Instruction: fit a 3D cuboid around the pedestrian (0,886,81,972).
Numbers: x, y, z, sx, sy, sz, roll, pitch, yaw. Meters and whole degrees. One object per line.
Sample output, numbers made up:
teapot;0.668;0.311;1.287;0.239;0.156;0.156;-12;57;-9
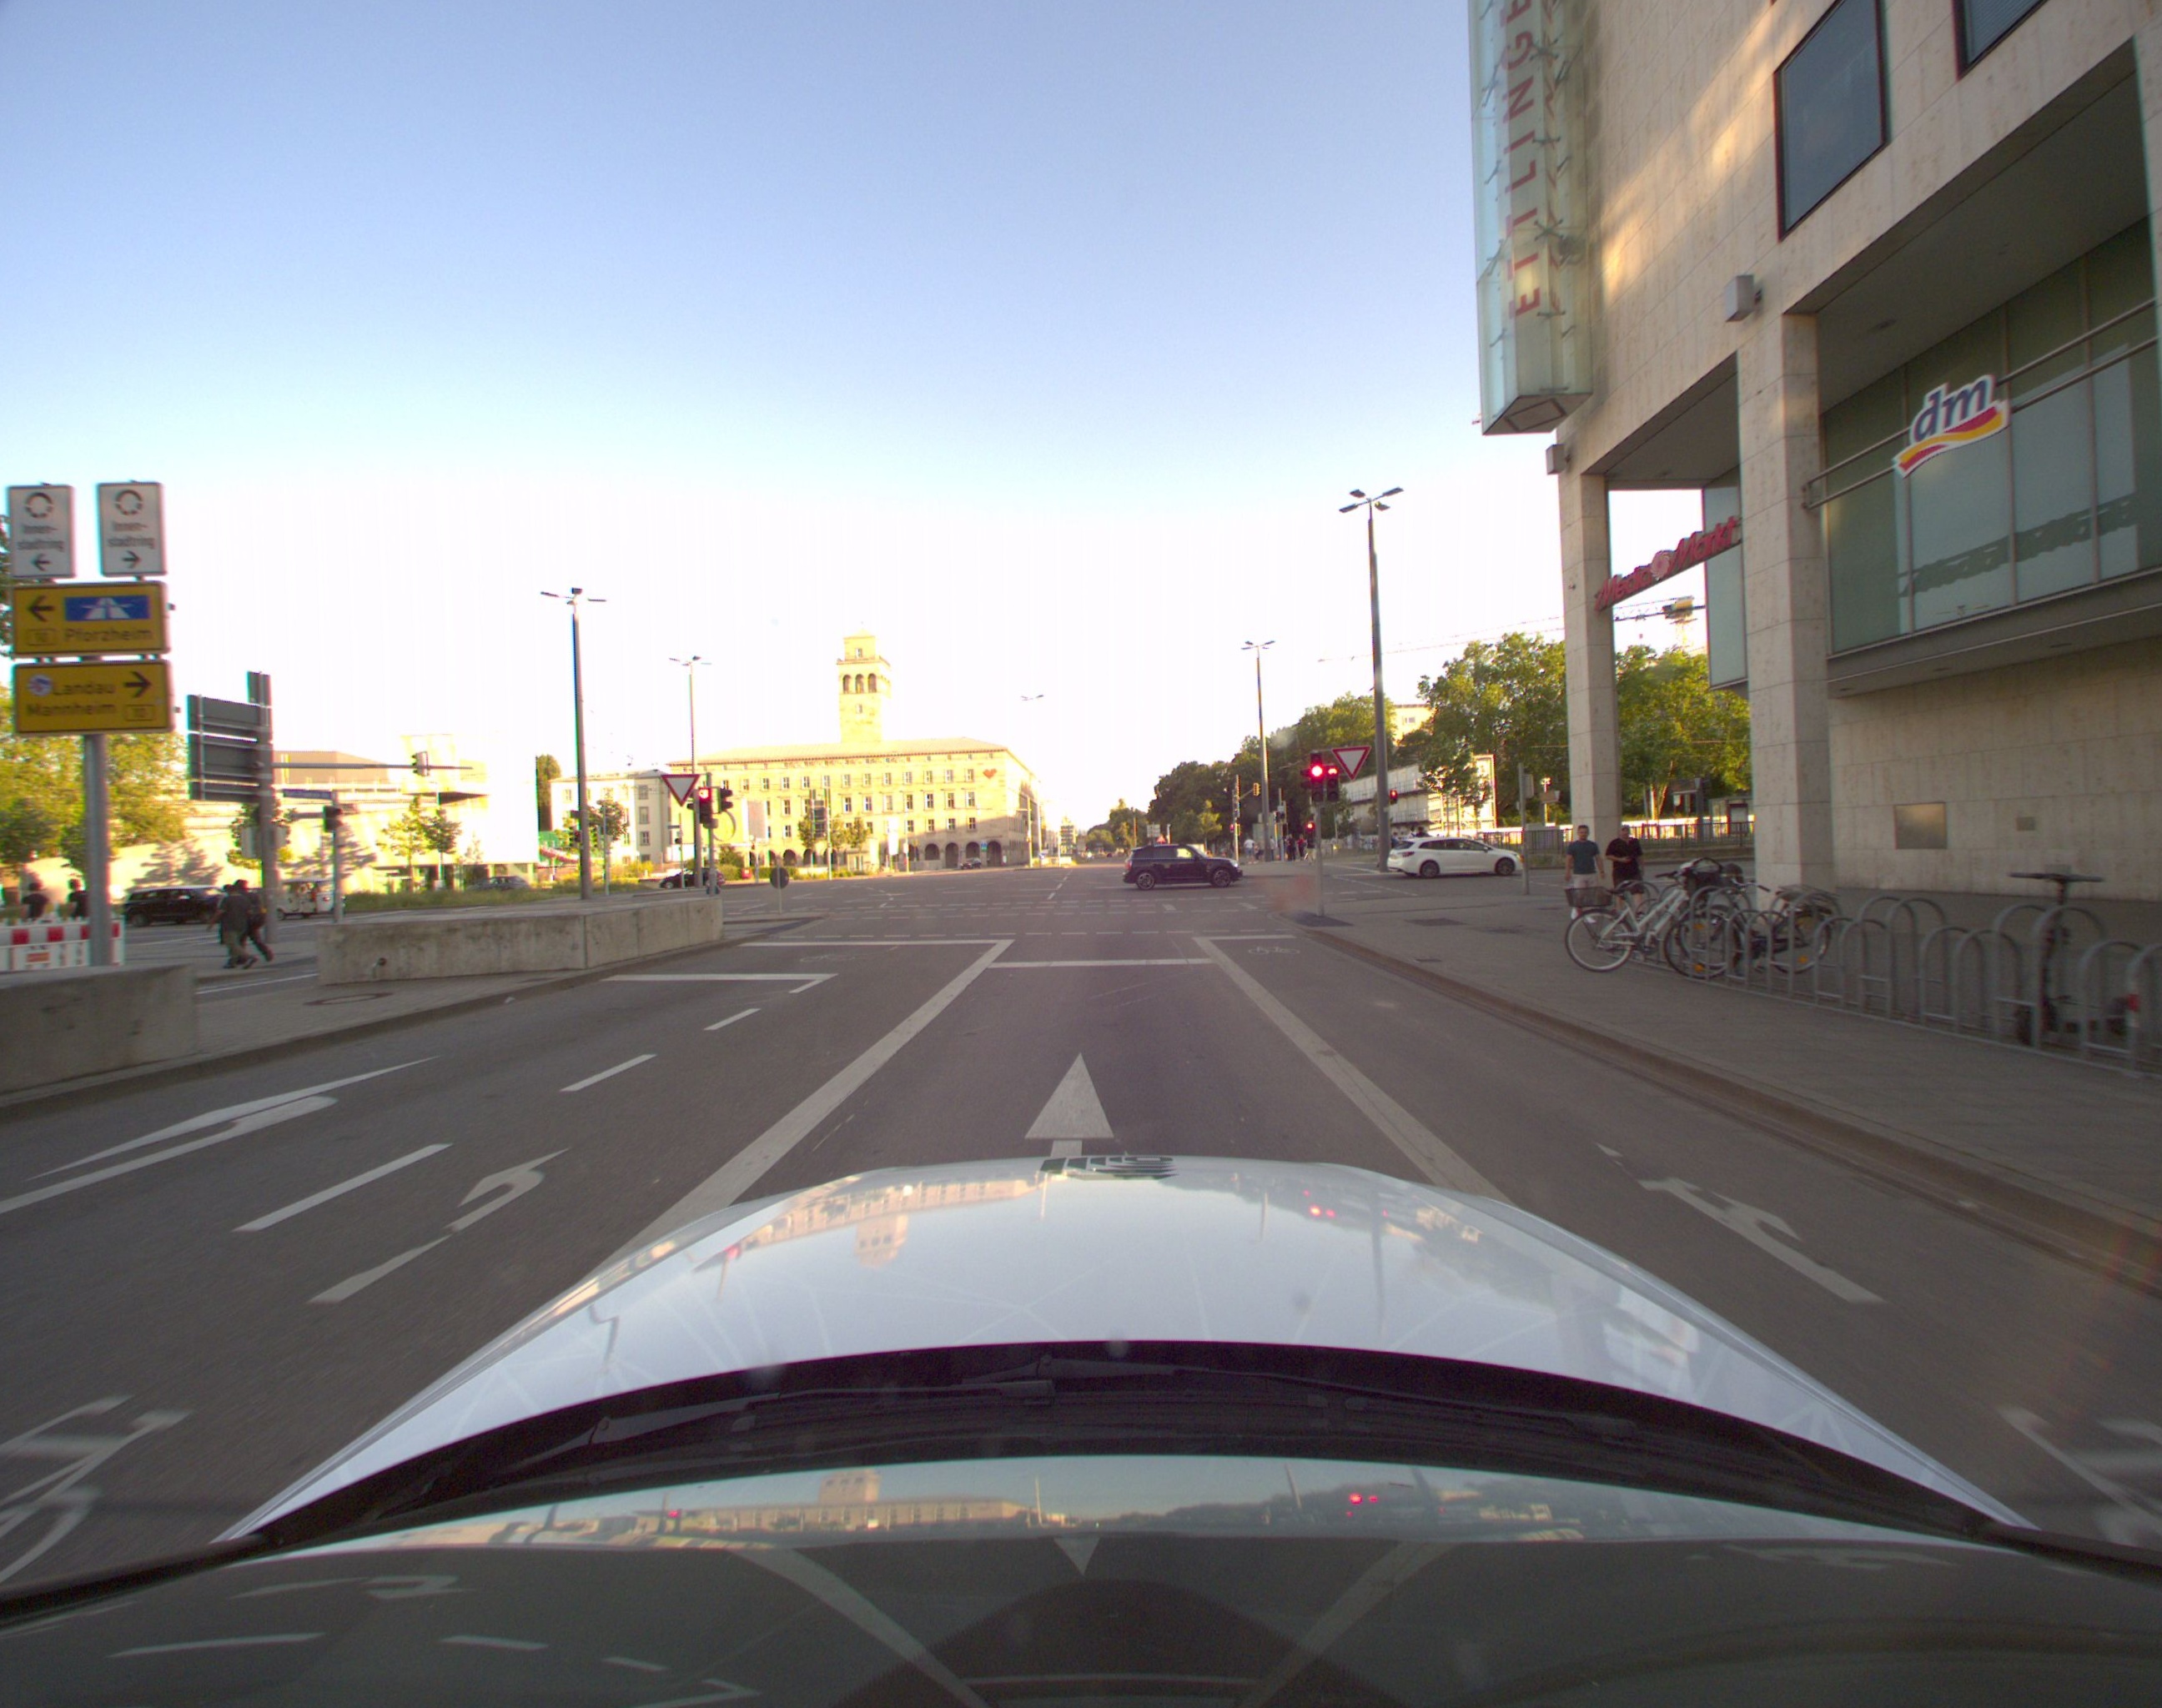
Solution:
pedestrian;-23.276;1.650;18.154;0.735;1.776;0.864;-5;0;3

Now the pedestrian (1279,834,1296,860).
pedestrian;13.922;-0.489;55.035;0.690;1.730;0.803;-3;0;-31

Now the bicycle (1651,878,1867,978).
bicycle;7.210;0.778;8.699;1.861;0.936;0.516;-2;0;0

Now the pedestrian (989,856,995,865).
pedestrian;-15.465;1.099;141.650;0.770;1.567;0.636;-2;0;1

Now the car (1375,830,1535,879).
car;13.401;-0.007;29.390;4.780;1.495;2.128;-2;0;1

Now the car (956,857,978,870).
car;-15.816;1.310;113.266;1.983;1.662;4.008;-2;0;7

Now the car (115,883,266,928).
car;-38.026;2.174;34.874;4.177;1.592;1.693;-3;0;-7

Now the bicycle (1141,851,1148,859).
bicycle;7.634;0.149;97.983;0.650;0.970;1.483;-2;0;-2

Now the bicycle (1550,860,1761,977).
bicycle;6.359;0.720;9.106;1.803;1.212;0.573;-2;0;17

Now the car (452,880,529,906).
car;-38.460;2.546;53.097;3.708;1.453;1.543;-3;0;-5

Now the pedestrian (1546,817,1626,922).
pedestrian;9.093;0.276;14.701;0.857;1.776;0.741;-5;0;2

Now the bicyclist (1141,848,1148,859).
bicyclist;7.605;-0.086;97.963;0.650;1.223;0.860;-2;0;-2

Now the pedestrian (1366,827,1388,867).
pedestrian;13.245;-0.314;36.472;0.682;1.730;0.898;-2;0;8

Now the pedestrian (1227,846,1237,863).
pedestrian;15.634;0.063;84.509;0.805;1.730;0.929;-2;0;0

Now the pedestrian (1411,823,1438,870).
pedestrian;13.658;-0.311;32.364;0.884;1.830;0.692;-2;0;28

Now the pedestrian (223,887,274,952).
pedestrian;-24.233;1.883;23.731;0.868;1.776;0.732;-5;0;-40

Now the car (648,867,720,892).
car;-26.563;1.704;54.637;3.974;1.453;1.541;-3;0;-9

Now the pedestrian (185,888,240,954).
pedestrian;-24.985;1.917;23.450;0.867;1.776;0.732;-5;0;-37

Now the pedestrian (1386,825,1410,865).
pedestrian;14.276;-0.399;36.641;0.679;1.730;0.901;-2;0;43

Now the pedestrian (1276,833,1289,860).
pedestrian;13.314;-0.478;53.799;0.802;1.730;0.690;-2;0;14

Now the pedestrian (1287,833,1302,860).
pedestrian;14.054;-0.467;53.625;0.805;1.730;0.688;-2;0;0

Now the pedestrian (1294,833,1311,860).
pedestrian;14.690;-0.480;54.105;0.689;1.730;0.804;-2;0;-24

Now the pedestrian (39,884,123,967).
pedestrian;-23.295;1.647;18.983;0.736;1.776;0.863;-5;0;0

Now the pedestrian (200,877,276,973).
pedestrian;-16.536;1.369;15.995;0.742;1.777;0.856;-2;0;-27

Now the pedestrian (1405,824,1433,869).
pedestrian;14.335;-0.314;34.569;0.889;1.840;0.689;-2;0;4

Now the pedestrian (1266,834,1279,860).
pedestrian;12.806;-0.459;54.421;0.802;1.730;0.690;-2;0;14

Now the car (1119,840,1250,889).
car;3.643;0.356;29.418;4.445;1.495;2.128;-2;0;1

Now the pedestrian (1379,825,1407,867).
pedestrian;13.371;-0.347;34.906;0.890;1.730;0.688;-2;0;0

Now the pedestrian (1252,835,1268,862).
pedestrian;11.765;-0.391;53.589;0.805;1.730;0.688;-2;0;0

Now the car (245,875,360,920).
car;-33.498;1.860;35.124;3.134;1.685;1.605;-3;0;-12

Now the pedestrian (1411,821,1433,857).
pedestrian;17.126;-0.751;40.880;0.683;1.730;0.838;-2;0;-1

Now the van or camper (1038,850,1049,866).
van or camper;-6.878;0.726;147.914;1.880;2.760;4.925;-2;0;-4

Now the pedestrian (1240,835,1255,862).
pedestrian;10.943;-0.364;53.583;0.805;1.730;0.688;-2;0;0

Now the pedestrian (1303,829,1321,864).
pedestrian;11.749;-0.367;41.414;0.689;1.730;0.742;-2;0;3

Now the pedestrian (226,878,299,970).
pedestrian;-16.703;1.394;16.635;0.741;1.777;0.857;-2;0;-23

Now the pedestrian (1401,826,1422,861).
pedestrian;16.888;-0.528;41.617;0.684;1.730;0.837;-2;0;-3

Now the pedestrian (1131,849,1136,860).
pedestrian;6.278;0.067;97.789;0.521;1.374;0.687;-2;0;-2

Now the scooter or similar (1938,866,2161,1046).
scooter or similar;7.142;0.696;5.840;1.271;1.160;0.673;-2;0;0

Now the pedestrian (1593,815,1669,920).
pedestrian;9.902;0.233;14.694;0.753;1.776;0.741;-5;0;2
